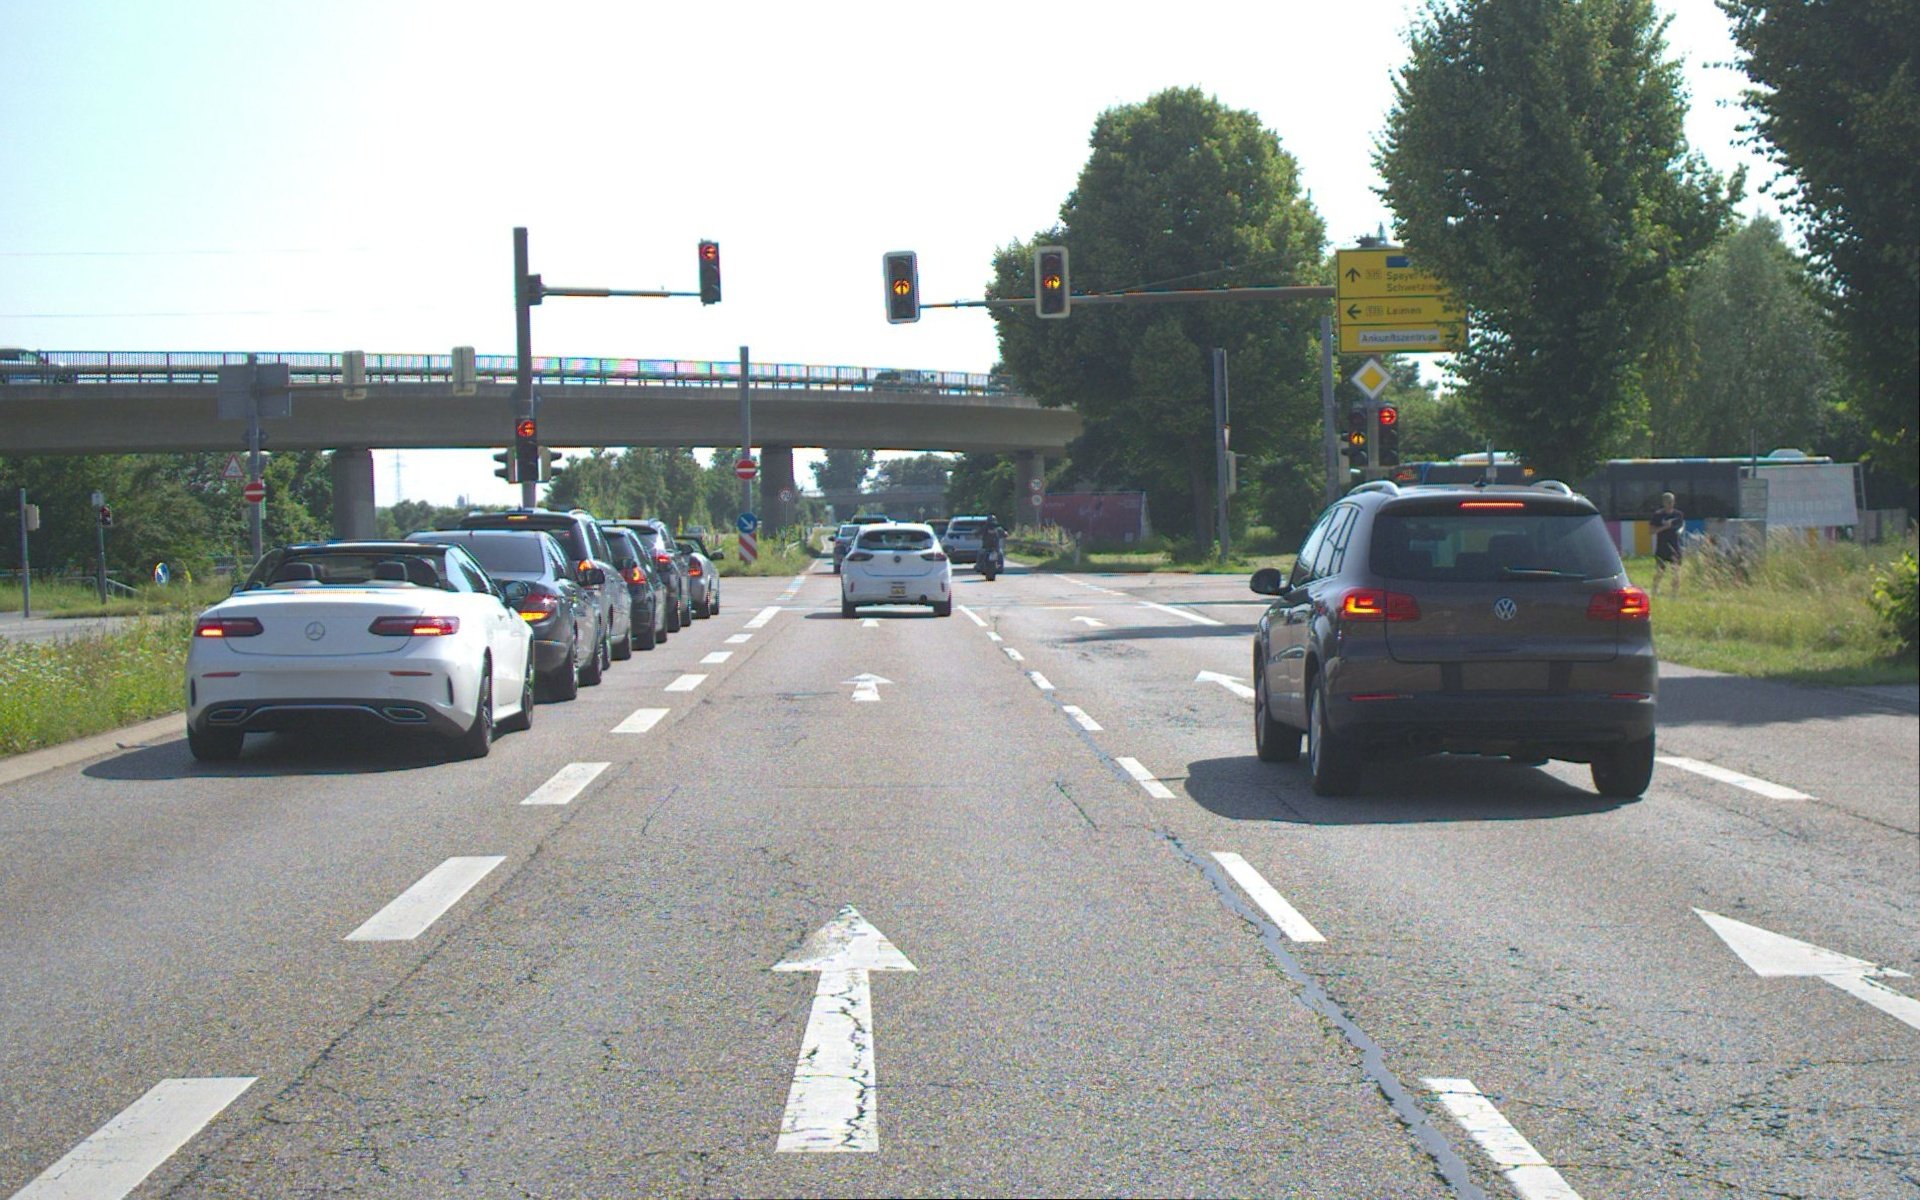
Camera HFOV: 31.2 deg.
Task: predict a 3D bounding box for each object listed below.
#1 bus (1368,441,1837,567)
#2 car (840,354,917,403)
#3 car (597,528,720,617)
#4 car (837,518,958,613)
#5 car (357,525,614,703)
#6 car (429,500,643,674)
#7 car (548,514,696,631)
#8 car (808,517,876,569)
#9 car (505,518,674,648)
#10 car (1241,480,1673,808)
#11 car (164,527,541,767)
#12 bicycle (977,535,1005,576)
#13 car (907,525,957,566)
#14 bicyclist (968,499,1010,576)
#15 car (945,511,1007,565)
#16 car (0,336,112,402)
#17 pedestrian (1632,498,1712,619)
[{"bbox_3d":[16.854,-2.517,90.063,11.935,2.867,2.943,-2,1,-16],"label":"bus"},{"bbox_3d":[-3.576,-9.750,151.724,1.996,1.942,3.811,1,0,22],"label":"car"},{"bbox_3d":[-4.785,-0.462,54.945,1.673,1.330,4.098,-1,2,-1],"label":"car"},{"bbox_3d":[-0.969,-0.575,54.535,1.851,1.456,4.000,0,1,0],"label":"car"},{"bbox_3d":[-4.051,0.068,29.912,1.714,1.405,4.356,0,1,-1],"label":"car"},{"bbox_3d":[-4.372,-0.184,36.003,1.741,1.666,4.357,-1,2,-1],"label":"car"},{"bbox_3d":[-4.694,-0.416,48.212,1.728,1.542,4.098,-1,2,-1],"label":"car"},{"bbox_3d":[-3.512,-1.734,102.914,1.873,1.487,4.000,-1,1,0],"label":"car"},{"bbox_3d":[-4.451,-0.241,41.728,1.666,1.469,4.098,-1,2,-1],"label":"car"},{"bbox_3d":[2.691,0.183,19.506,1.755,1.650,4.147,0,1,-1],"label":"car"},{"bbox_3d":[-3.922,0.231,22.929,1.803,1.420,4.642,0,1,-2],"label":"car"},{"bbox_3d":[0.763,-1.114,85.734,0.600,0.979,2.361,-1,1,-1],"label":"bicycle"},{"bbox_3d":[-1.196,-2.275,144.058,1.993,1.626,4.000,1,0,-2],"label":"car"},{"bbox_3d":[0.720,-1.571,86.059,1.007,1.880,1.327,-1,1,0],"label":"bicyclist"},{"bbox_3d":[0.484,-1.936,106.854,1.873,1.634,4.000,1,1,0],"label":"car"},{"bbox_3d":[-29.298,-7.367,109.782,1.997,1.831,3.992,1,0,35],"label":"car"},{"bbox_3d":[11.068,-0.651,53.504,0.901,1.833,1.195,-1,1,-4],"label":"pedestrian"}]
